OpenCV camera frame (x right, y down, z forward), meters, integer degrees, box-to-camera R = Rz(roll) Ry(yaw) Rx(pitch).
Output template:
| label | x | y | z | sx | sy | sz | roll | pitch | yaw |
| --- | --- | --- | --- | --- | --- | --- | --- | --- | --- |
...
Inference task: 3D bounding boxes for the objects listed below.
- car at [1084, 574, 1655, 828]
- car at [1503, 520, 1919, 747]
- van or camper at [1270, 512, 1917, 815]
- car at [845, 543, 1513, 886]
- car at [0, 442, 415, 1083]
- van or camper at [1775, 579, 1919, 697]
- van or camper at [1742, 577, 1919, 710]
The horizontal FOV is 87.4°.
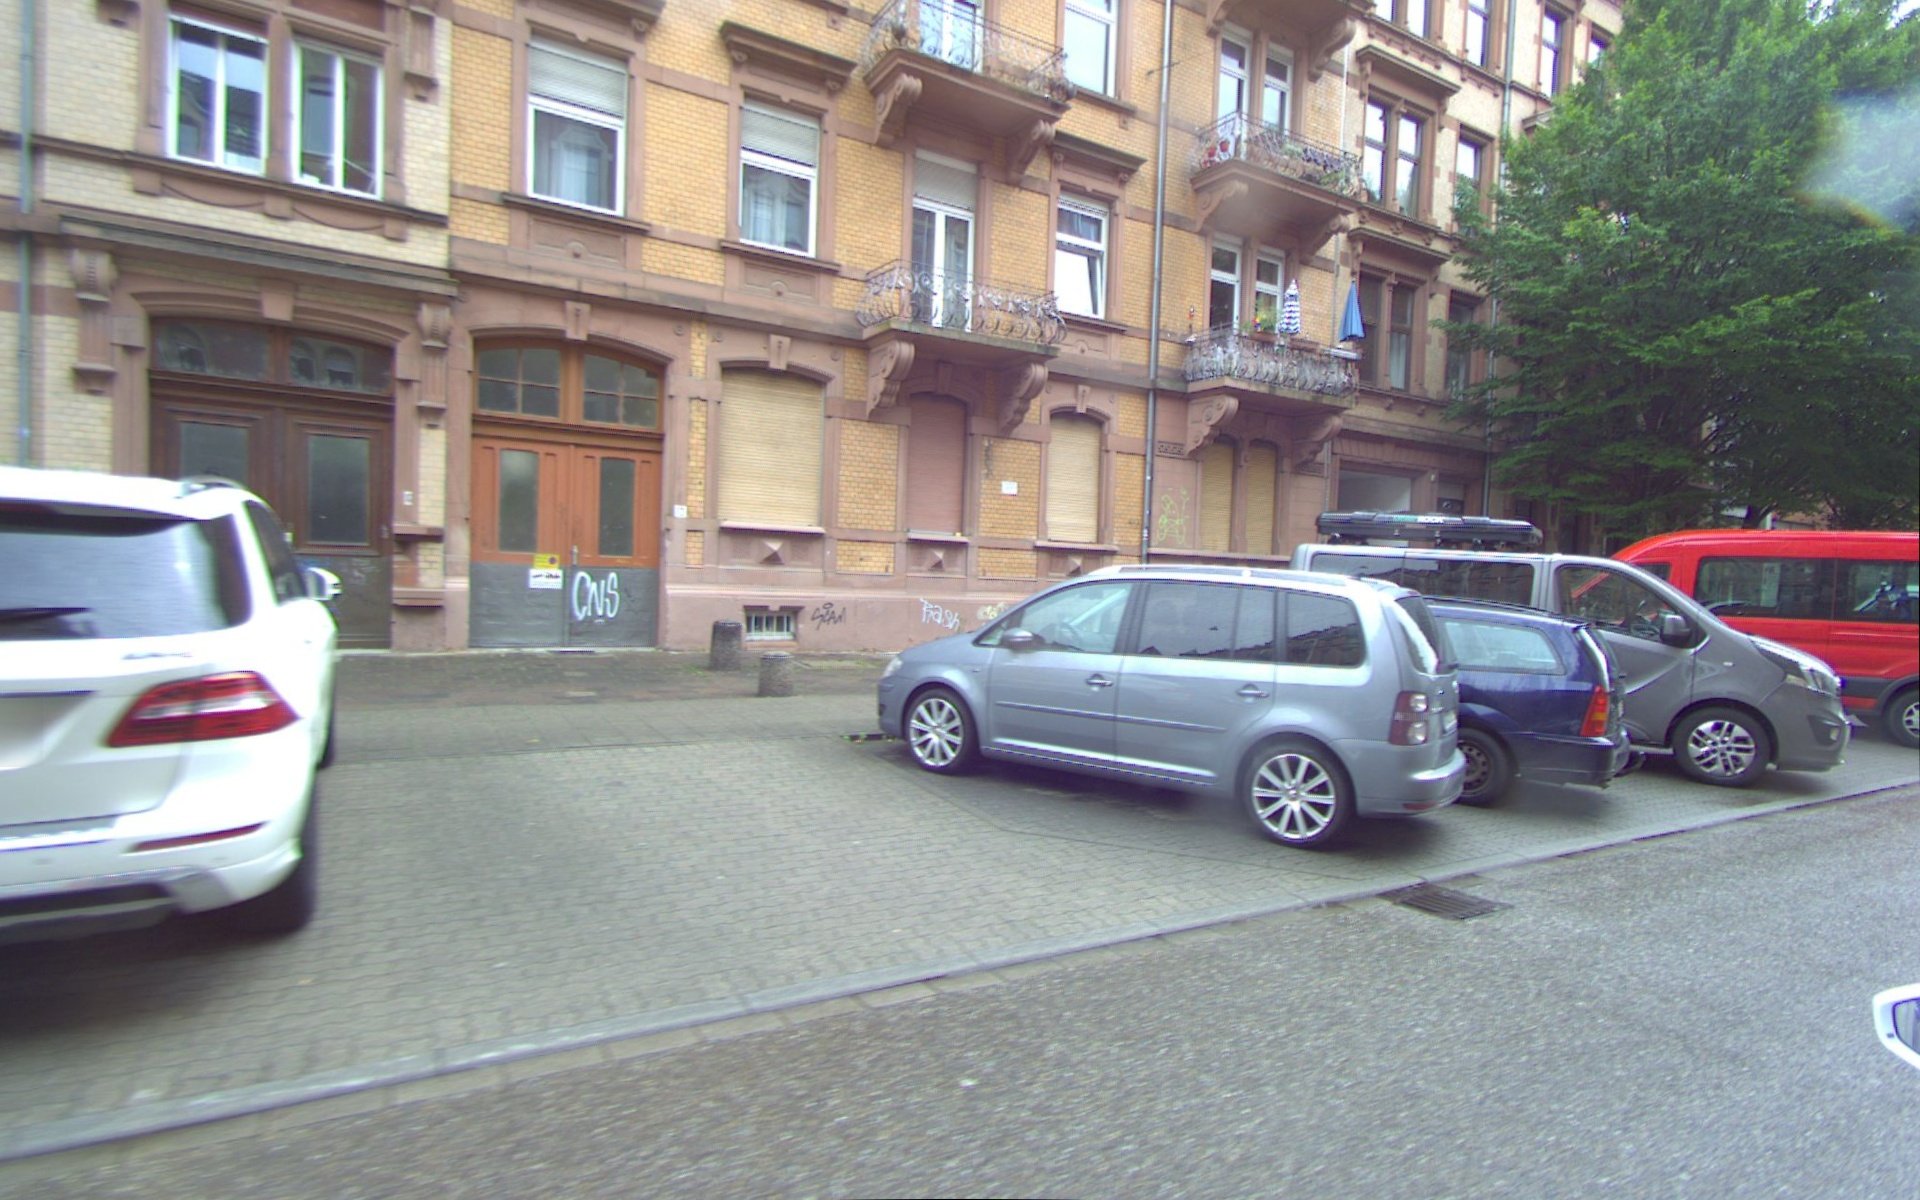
| label | x | y | z | sx | sy | sz | roll | pitch | yaw |
| --- | --- | --- | --- | --- | --- | --- | --- | --- | --- |
| car | 3.420 | 0.650 | 8.839 | 4.288 | 1.525 | 1.748 | 5 | 4 | 38 |
| car | 10.352 | 0.318 | 13.151 | 5.477 | 2.575 | 2.223 | 3 | 2 | 33 |
| van or camper | 6.014 | 0.387 | 10.227 | 4.940 | 2.381 | 2.338 | 3 | 2 | 34 |
| car | 1.448 | 0.546 | 7.409 | 4.370 | 1.652 | 1.839 | 6 | 4 | 34 |
| car | -4.044 | 0.297 | 4.626 | 2.516 | 1.809 | 4.554 | 1 | 4 | -31 |
| van or camper | 18.343 | 0.744 | 18.429 | 4.605 | 1.979 | 2.337 | 4 | 3 | 18 |
| van or camper | 15.674 | 0.717 | 16.272 | 4.366 | 2.002 | 1.779 | 3 | 2 | 27 |
